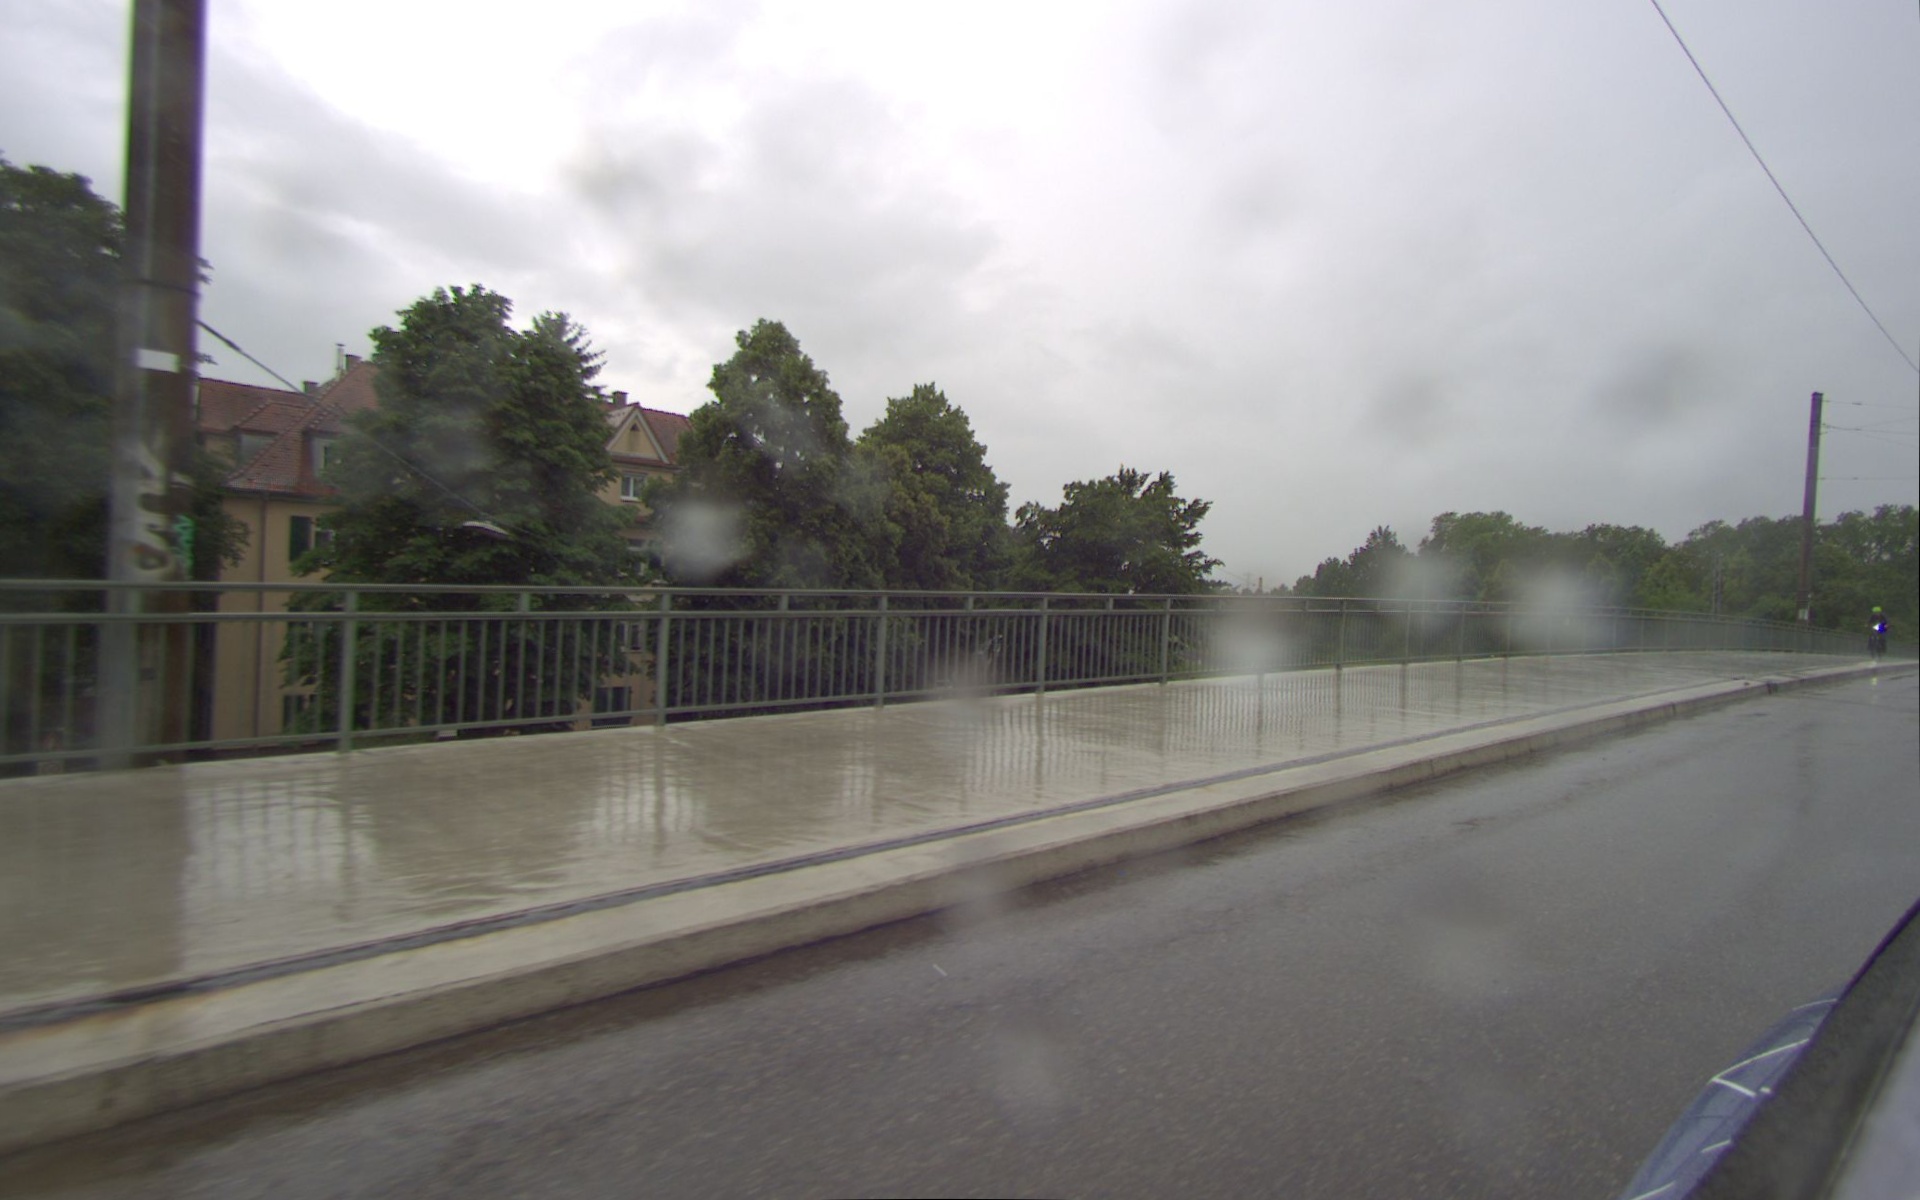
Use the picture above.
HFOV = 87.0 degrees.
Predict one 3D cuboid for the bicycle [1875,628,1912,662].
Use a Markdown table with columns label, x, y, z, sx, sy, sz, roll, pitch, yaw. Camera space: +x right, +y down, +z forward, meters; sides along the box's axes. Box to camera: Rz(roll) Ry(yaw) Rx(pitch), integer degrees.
| label | x | y | z | sx | sy | sz | roll | pitch | yaw |
| --- | --- | --- | --- | --- | --- | --- | --- | --- | --- |
| bicycle | 32.938 | 1.588 | 35.704 | 2.129 | 1.143 | 0.724 | 2 | -2 | -41 |

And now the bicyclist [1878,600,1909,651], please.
| label | x | y | z | sx | sy | sz | roll | pitch | yaw |
| --- | --- | --- | --- | --- | --- | --- | --- | --- | --- |
| bicyclist | 33.005 | 0.898 | 35.781 | 0.932 | 1.786 | 0.726 | 2 | -1 | -41 |
